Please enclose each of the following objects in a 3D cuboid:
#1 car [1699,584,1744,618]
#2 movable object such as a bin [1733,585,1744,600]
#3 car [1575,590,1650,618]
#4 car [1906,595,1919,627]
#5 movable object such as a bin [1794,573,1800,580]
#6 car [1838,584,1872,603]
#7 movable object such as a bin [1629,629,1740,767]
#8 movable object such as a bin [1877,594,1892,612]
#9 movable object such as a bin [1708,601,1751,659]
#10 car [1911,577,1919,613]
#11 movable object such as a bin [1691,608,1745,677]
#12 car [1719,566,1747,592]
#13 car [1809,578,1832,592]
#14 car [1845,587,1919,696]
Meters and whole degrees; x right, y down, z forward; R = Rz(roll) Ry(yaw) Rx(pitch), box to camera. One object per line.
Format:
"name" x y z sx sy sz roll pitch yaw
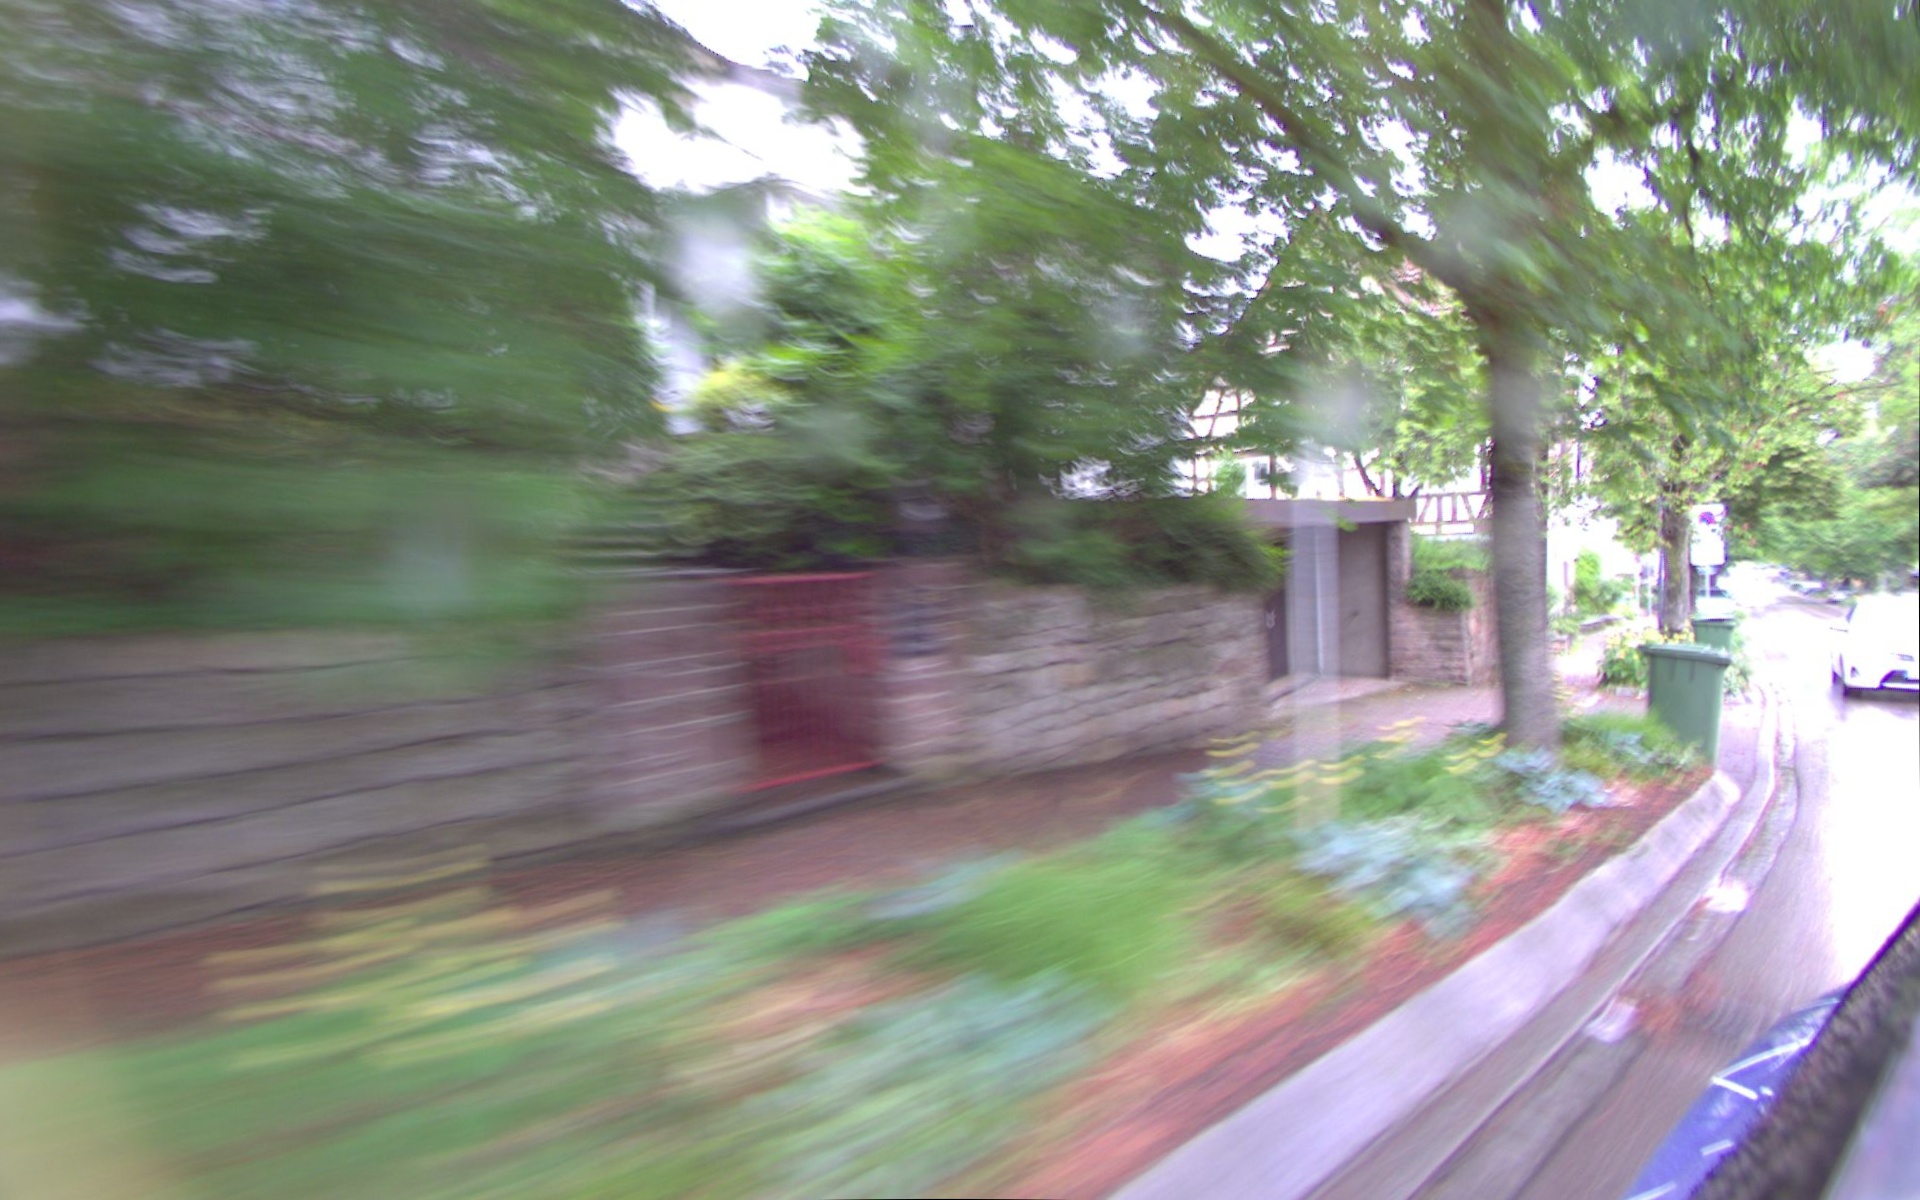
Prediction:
"car" 42.446 0.012 56.363 1.910 1.815 4.426 -1 0 38
"movable object such as a bin" 59.932 -0.565 77.927 0.641 1.096 0.534 -1 0 34
"car" 35.679 0.196 55.360 3.354 1.448 1.610 2 2 35
"car" 49.167 0.519 51.190 1.644 1.552 3.810 -2 -1 40
"movable object such as a bin" 120.491 -3.381 145.661 0.615 1.072 0.561 -3 -1 37
"car" 71.115 -0.509 80.480 1.769 1.406 4.482 -2 -1 39
"movable object such as a bin" 6.653 0.856 9.286 0.768 1.120 0.872 2 2 39
"movable object such as a bin" 55.591 0.176 60.884 0.642 1.125 0.528 0 0 40
"movable object such as a bin" 16.884 0.644 22.198 0.719 1.228 0.717 -1 0 39
"car" 42.580 -0.235 43.632 1.766 1.573 3.948 -3 -1 36
"movable object such as a bin" 13.224 0.721 17.667 0.721 1.157 0.694 -1 0 36
"car" 76.740 -2.133 100.526 2.136 2.491 5.362 -1 1 38
"car" 93.764 -1.633 110.246 1.746 1.413 3.743 -1 1 38
"car" 14.723 0.555 15.338 1.821 1.478 3.820 -1 0 40
